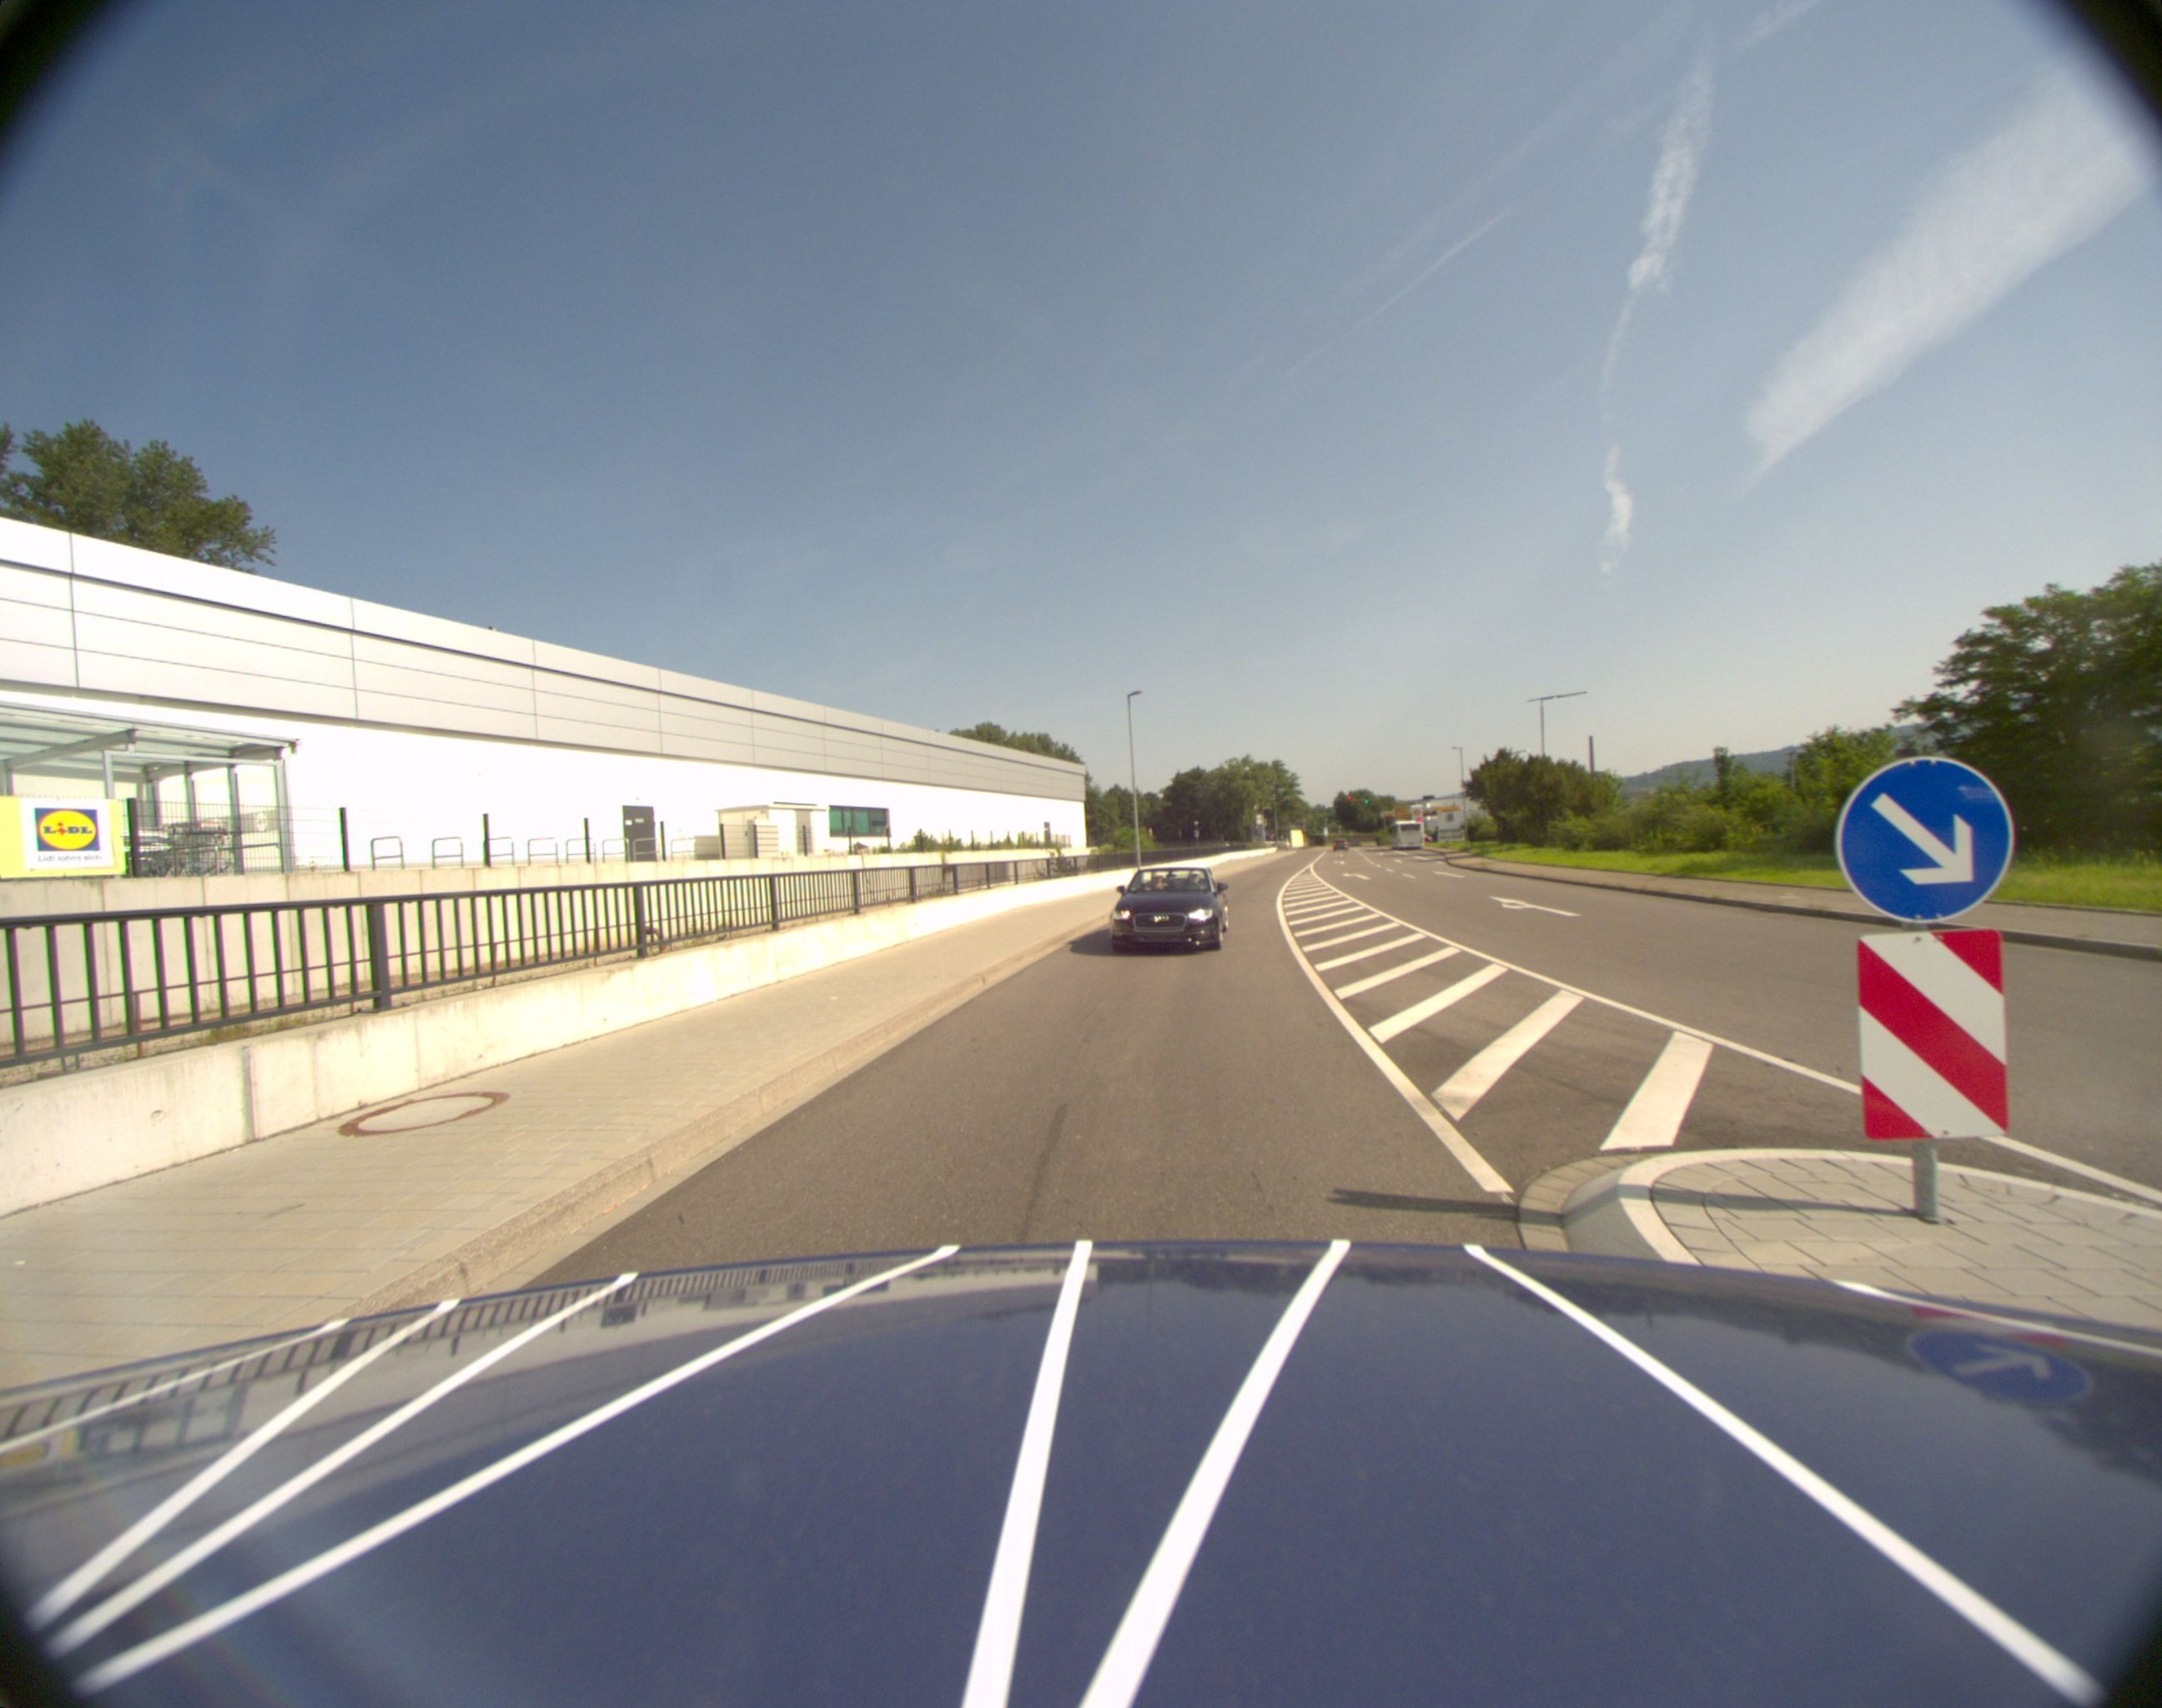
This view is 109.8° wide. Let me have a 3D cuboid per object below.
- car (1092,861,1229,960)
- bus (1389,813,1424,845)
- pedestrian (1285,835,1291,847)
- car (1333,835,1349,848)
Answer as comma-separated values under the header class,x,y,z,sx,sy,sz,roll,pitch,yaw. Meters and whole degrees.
class,x,y,z,sx,sy,sz,roll,pitch,yaw
car,1.587,0.887,13.605,1.867,1.323,4.235,-3,0,13
bus,36.812,-2.827,86.167,2.624,3.291,11.970,-2,1,19
pedestrian,27.710,-1.751,101.632,0.711,1.662,0.593,-2,2,12
car,31.977,-1.550,93.462,1.774,1.464,4.224,-2,1,20
